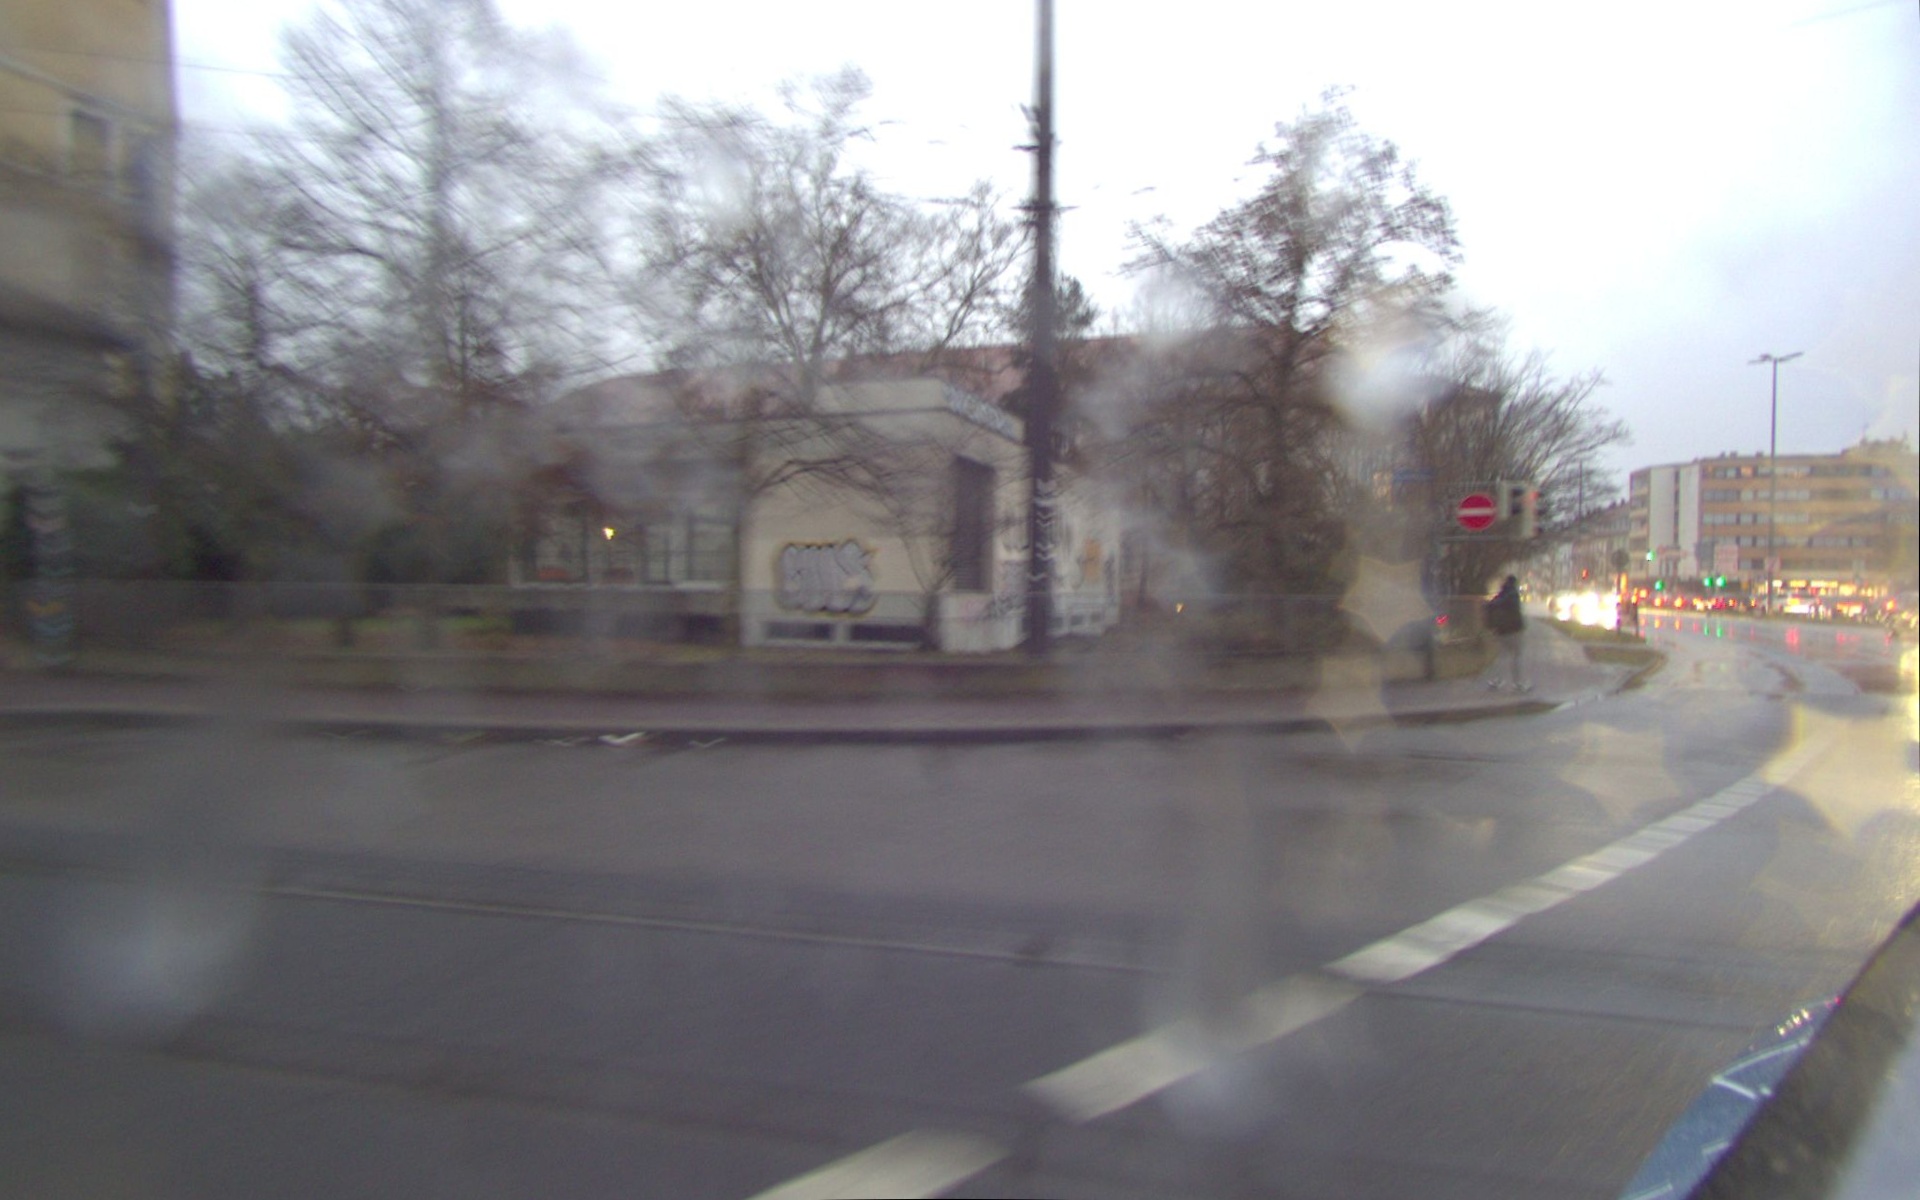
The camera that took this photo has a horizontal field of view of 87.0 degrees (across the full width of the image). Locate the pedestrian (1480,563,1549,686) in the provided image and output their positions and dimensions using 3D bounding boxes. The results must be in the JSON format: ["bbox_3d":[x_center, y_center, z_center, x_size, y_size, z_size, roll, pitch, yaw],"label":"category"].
[{"bbox_3d":[8.837,0.386,16.130,0.671,1.860,0.574,3,4,-42],"label":"pedestrian"}]

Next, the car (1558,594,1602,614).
[{"bbox_3d":[47.467,0.270,77.574,1.944,1.404,4.504,2,1,19],"label":"car"}]

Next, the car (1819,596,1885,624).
[{"bbox_3d":[52.284,0.559,59.403,1.632,1.505,3.969,2,1,22],"label":"car"}]

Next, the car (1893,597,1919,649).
[{"bbox_3d":[33.382,0.799,33.994,1.802,1.764,4.149,2,1,26],"label":"car"}]

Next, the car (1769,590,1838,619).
[{"bbox_3d":[54.904,0.276,65.959,1.944,1.805,4.504,2,1,20],"label":"car"}]

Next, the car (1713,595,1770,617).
[{"bbox_3d":[57.439,0.413,74.437,1.944,1.533,4.504,2,1,19],"label":"car"}]

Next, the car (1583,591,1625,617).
[{"bbox_3d":[51.974,0.299,81.705,1.975,2.039,3.974,1,1,19],"label":"car"}]

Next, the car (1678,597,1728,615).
[{"bbox_3d":[60.050,0.460,81.874,1.944,1.404,4.504,2,1,19],"label":"car"}]

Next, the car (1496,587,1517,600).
[{"bbox_3d":[73.990,-0.866,137.109,1.975,1.629,3.973,0,0,20],"label":"car"}]
